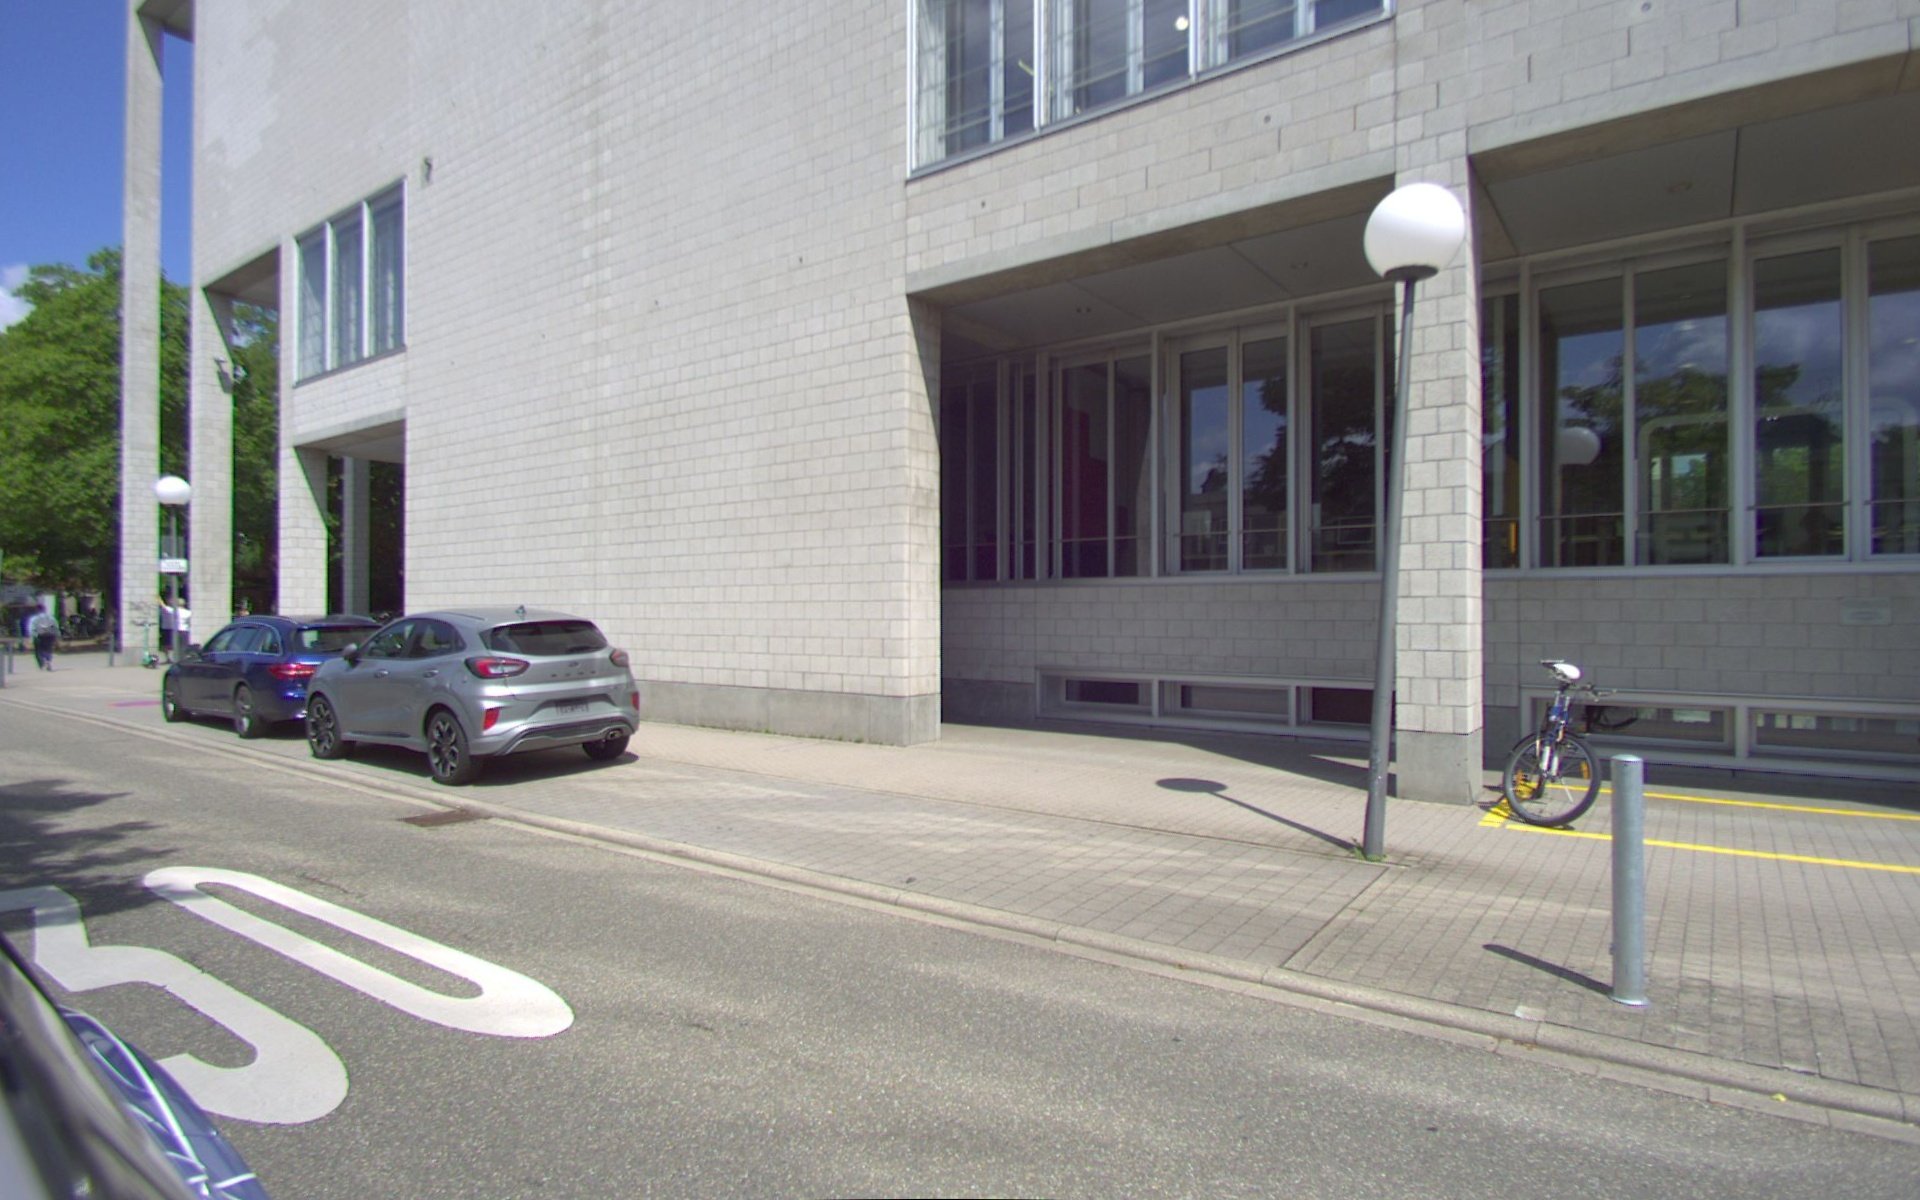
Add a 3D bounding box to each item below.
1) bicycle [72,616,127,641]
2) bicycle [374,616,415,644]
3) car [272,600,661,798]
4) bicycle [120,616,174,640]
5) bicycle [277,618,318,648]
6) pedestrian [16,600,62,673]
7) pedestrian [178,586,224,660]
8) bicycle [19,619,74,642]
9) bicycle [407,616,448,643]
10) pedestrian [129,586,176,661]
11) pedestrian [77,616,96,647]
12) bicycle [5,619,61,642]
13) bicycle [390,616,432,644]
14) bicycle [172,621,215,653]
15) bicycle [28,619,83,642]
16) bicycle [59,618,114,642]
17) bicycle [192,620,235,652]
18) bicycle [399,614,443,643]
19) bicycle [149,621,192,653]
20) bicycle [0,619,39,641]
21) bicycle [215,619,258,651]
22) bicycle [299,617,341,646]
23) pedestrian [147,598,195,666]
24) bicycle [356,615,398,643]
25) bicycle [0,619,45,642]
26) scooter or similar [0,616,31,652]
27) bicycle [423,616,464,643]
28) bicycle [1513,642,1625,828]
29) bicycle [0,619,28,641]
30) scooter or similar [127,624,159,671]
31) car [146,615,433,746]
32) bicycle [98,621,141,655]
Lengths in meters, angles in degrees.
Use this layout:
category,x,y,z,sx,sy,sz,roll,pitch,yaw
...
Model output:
category,x,y,z,sx,sy,sz,roll,pitch,yaw
bicycle,-42.023,1.384,49.475,0.744,1.166,2.120,0,0,7
bicycle,-22.646,1.197,40.504,2.171,1.066,0.615,0,0,36
car,-5.100,0.805,10.211,4.398,1.546,1.710,0,2,37
bicycle,-39.324,1.338,48.988,0.744,1.115,2.120,0,0,7
bicycle,-24.873,1.236,37.982,2.120,1.066,0.615,0,0,36
pedestrian,-22.950,0.888,25.221,0.750,1.738,1.236,-3,2,-43
pedestrian,-21.149,0.625,28.189,1.079,2.029,0.746,-1,0,36
bicycle,-45.262,1.493,50.172,0.675,1.066,2.120,0,0,7
bicycle,-21.886,1.206,41.569,2.171,1.066,0.615,0,0,36
pedestrian,-22.333,0.635,27.997,1.079,2.029,0.746,-1,0,36
pedestrian,-49.618,1.776,57.492,0.745,1.683,0.824,0,0,-39
bicycle,-45.986,1.489,50.230,0.675,1.066,2.120,0,0,7
bicycle,-22.270,1.210,41.032,2.171,1.066,0.615,0,0,36
bicycle,-26.743,1.263,35.283,2.120,1.066,0.615,0,0,36
bicycle,-44.487,1.478,49.799,0.675,1.066,2.120,0,0,7
bicycle,-42.767,1.441,49.576,0.675,1.115,2.120,0,0,7
bicycle,-26.394,1.254,35.762,2.120,1.066,0.615,0,0,36
bicycle,-23.362,1.225,43.847,2.165,1.201,0.617,0,0,28
bicycle,-27.123,1.259,34.758,2.120,1.066,0.615,0,0,36
bicycle,-47.323,1.500,50.541,0.615,1.066,2.120,0,0,7
bicycle,-26.000,1.243,36.352,2.120,1.066,0.615,0,0,36
bicycle,-24.269,1.180,38.364,2.120,1.066,0.615,0,0,36
pedestrian,-21.315,0.858,27.329,1.079,1.794,0.746,-1,0,36
bicycle,-23.019,1.149,39.961,2.171,1.066,0.615,0,0,36
bicycle,-46.689,1.512,50.133,0.615,1.066,2.120,0,0,7
scooter or similar,-33.188,1.189,35.428,0.702,1.200,1.620,0,0,-32
bicycle,-21.502,1.202,42.116,2.171,1.066,0.615,0,0,36
bicycle,4.325,0.883,7.210,0.606,1.095,1.627,-1,0,31
bicycle,-48.003,1.505,50.635,0.615,1.066,2.120,0,0,7
scooter or similar,-20.724,1.203,25.675,1.310,1.153,0.314,-1,0,37
car,-8.926,0.928,13.318,4.657,1.433,1.710,-1,0,37
bicycle,-27.878,1.244,33.556,1.995,1.115,0.503,-1,-1,33
